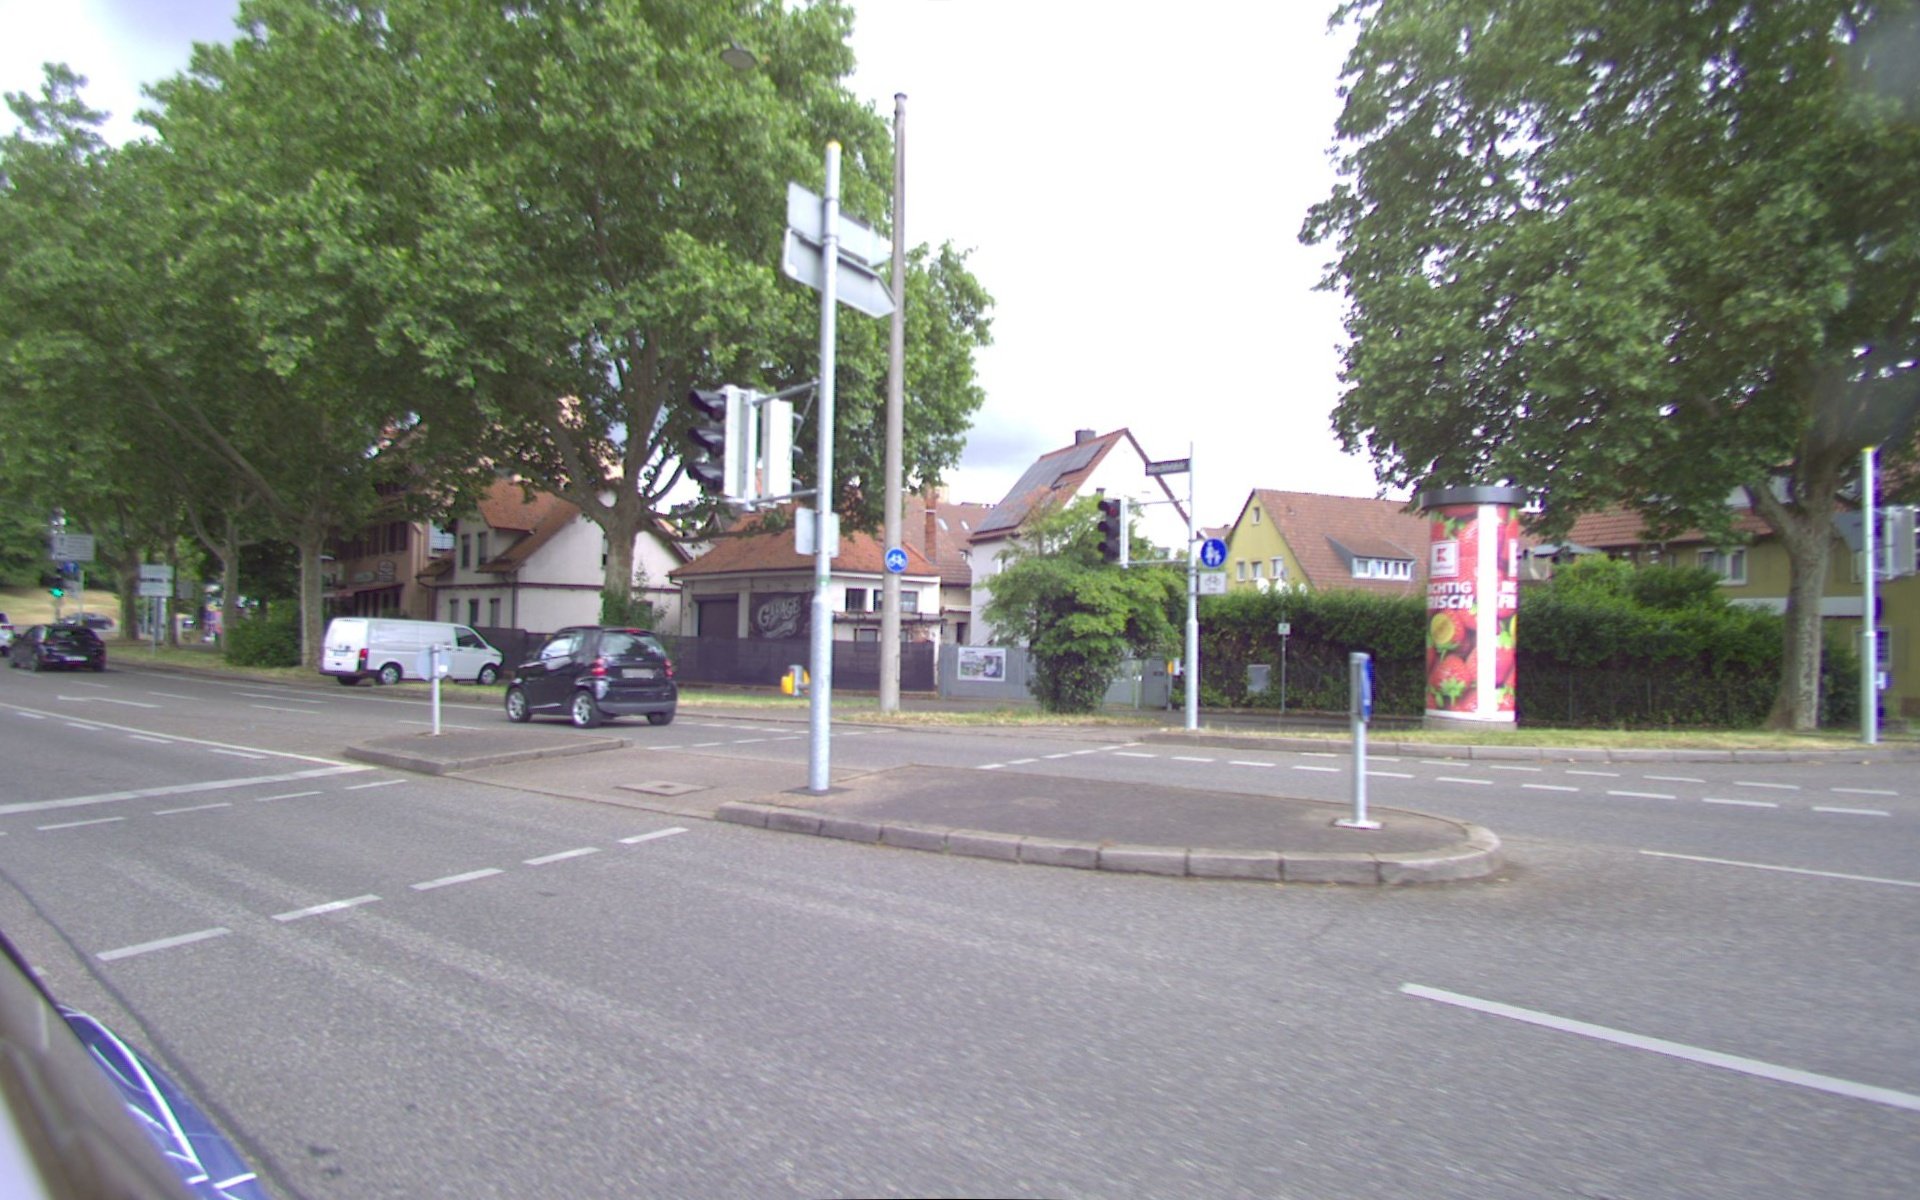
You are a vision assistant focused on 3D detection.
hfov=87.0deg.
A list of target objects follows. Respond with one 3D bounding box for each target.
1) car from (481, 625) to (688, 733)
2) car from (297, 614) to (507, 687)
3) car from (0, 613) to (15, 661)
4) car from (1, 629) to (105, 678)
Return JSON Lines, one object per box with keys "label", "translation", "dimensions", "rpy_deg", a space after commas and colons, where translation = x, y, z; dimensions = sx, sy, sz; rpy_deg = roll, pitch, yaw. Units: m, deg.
{"label": "car", "translation": [-5.995, 1.218, 16.077], "dimensions": [3.183, 1.539, 1.554], "rpy_deg": [-2, -5, 37]}
{"label": "car", "translation": [-16.288, 1.548, 29.932], "dimensions": [2.071, 1.946, 5.203], "rpy_deg": [0, -4, 23]}
{"label": "car", "translation": [-37.800, 1.349, 38.430], "dimensions": [4.743, 1.777, 1.894], "rpy_deg": [0, -2, 36]}
{"label": "car", "translation": [-28.366, 1.649, 31.616], "dimensions": [3.941, 1.393, 1.555], "rpy_deg": [0, -4, 36]}
